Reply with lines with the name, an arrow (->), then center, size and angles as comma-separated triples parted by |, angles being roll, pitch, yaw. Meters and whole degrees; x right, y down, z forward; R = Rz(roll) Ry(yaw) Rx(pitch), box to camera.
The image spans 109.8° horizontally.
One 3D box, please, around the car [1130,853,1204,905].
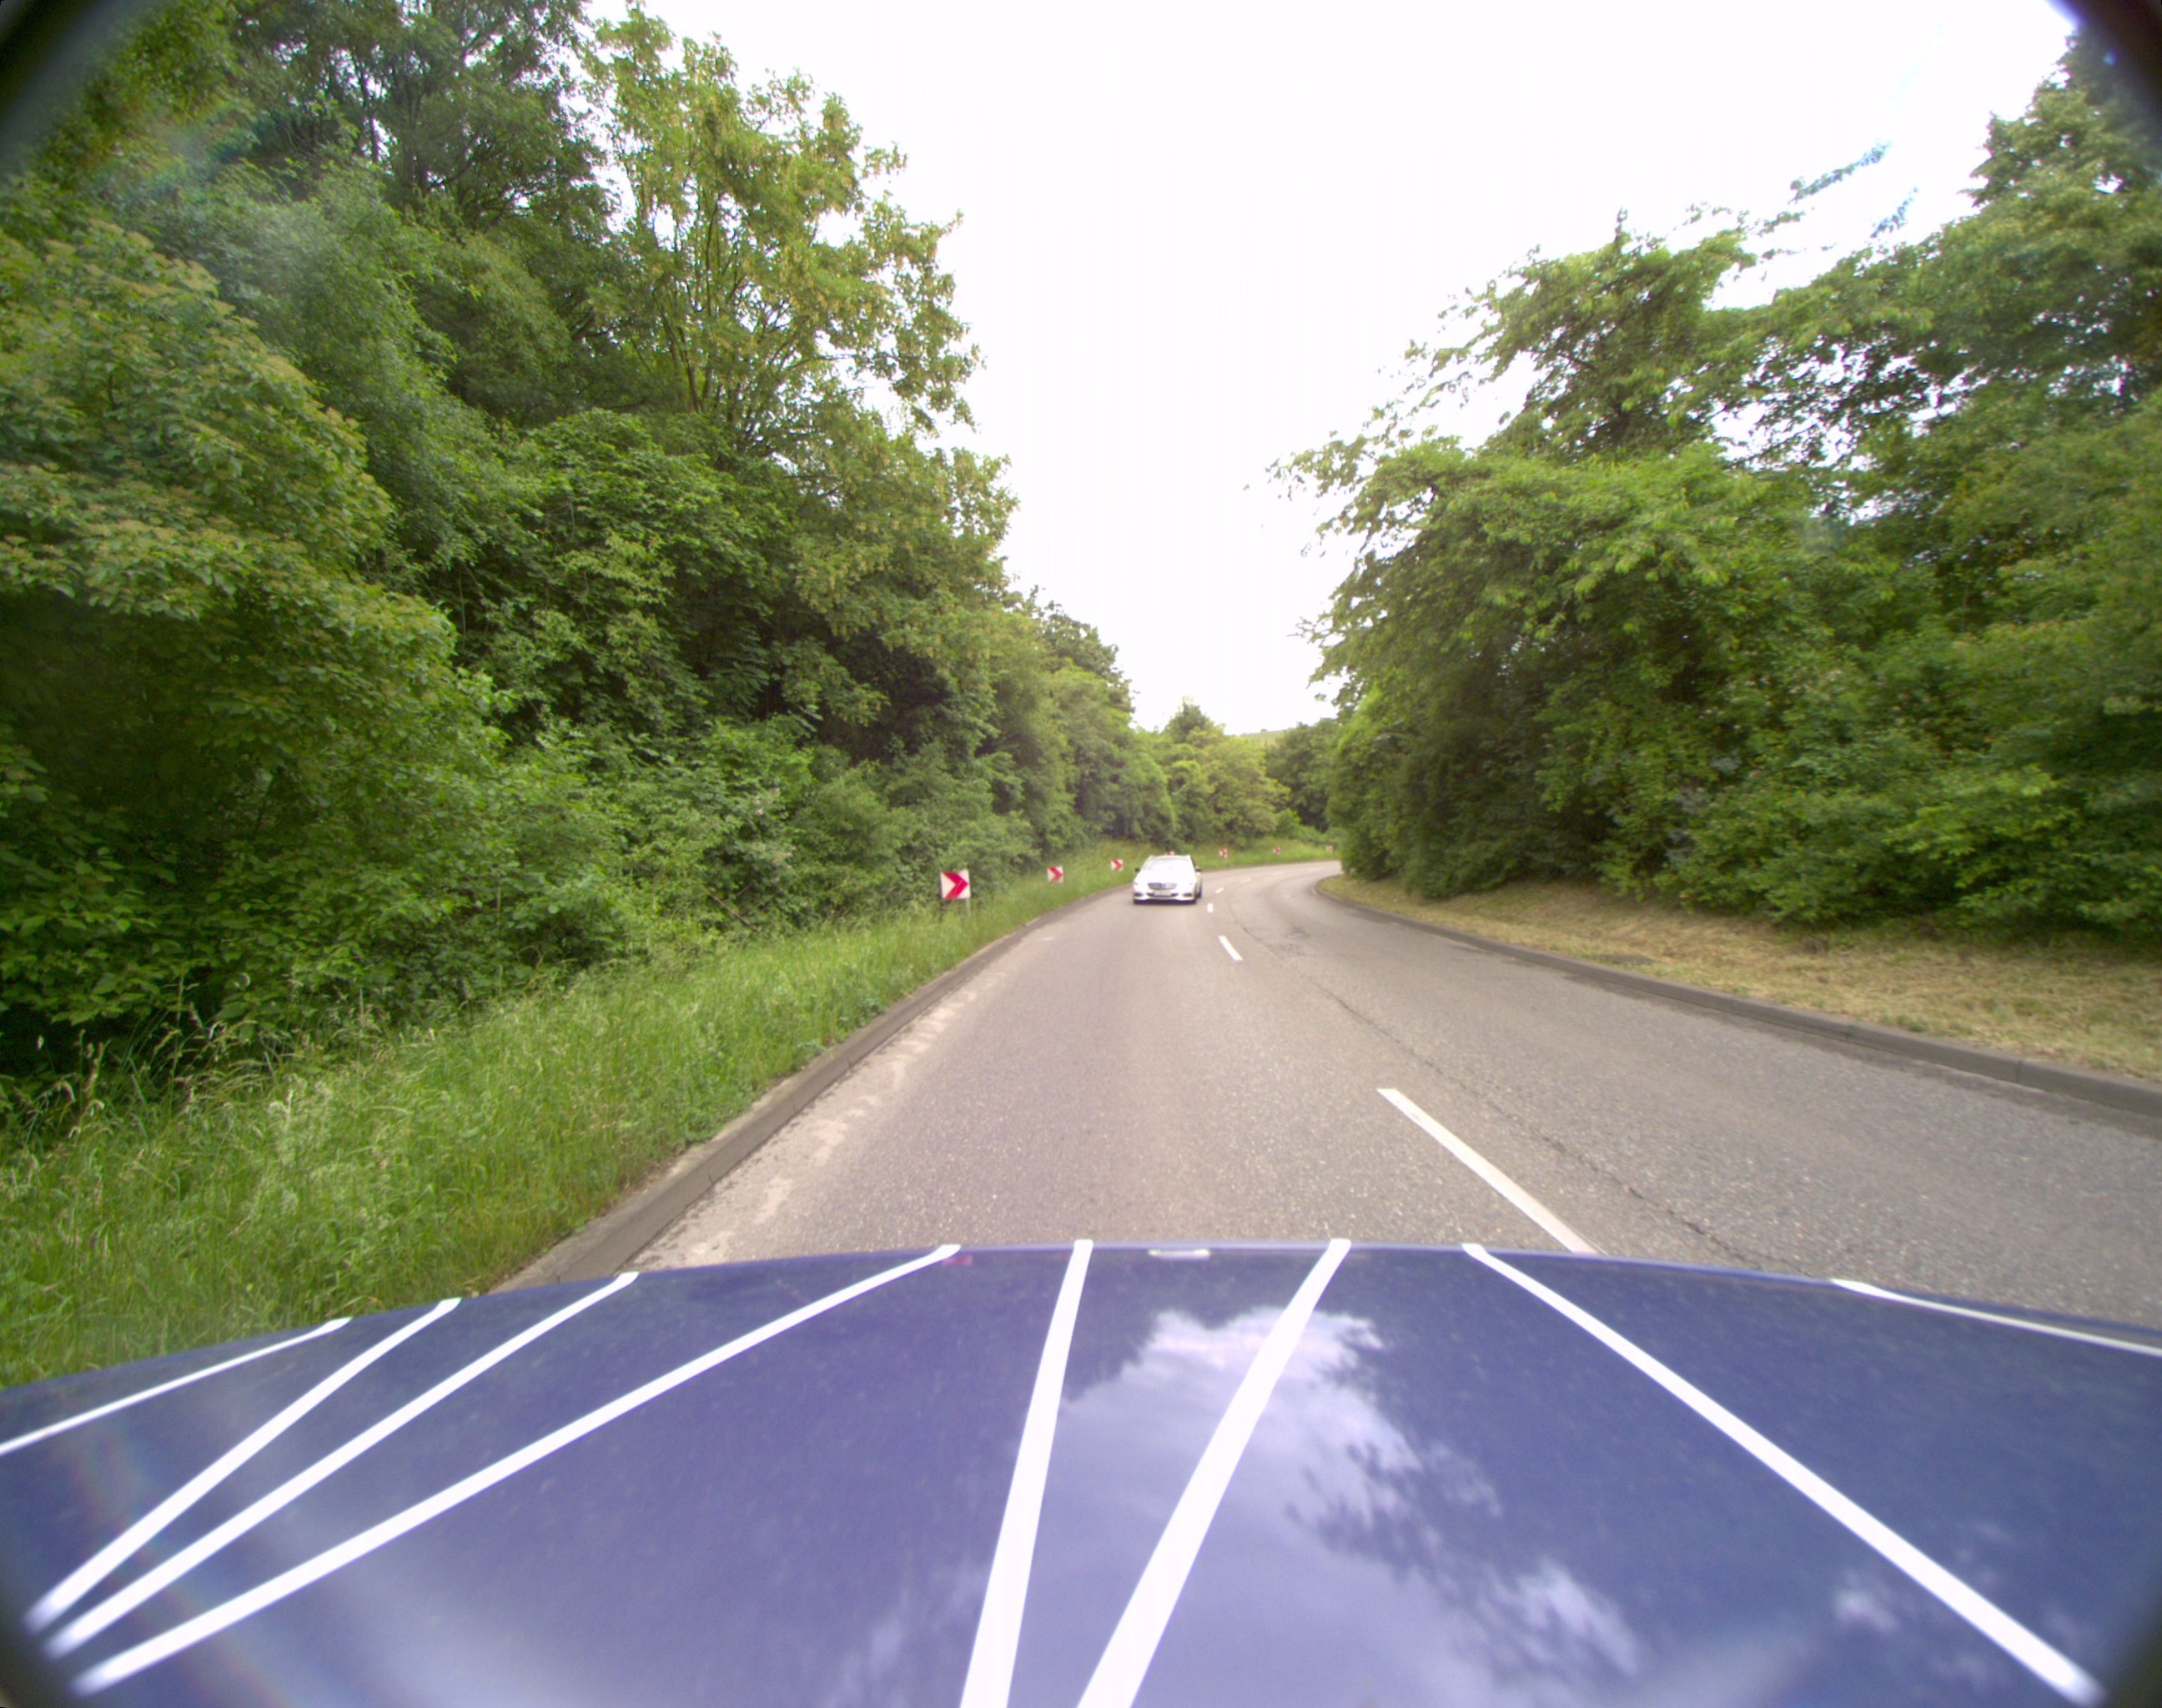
car -> 2.799, 0.724, 23.892 | 1.865, 1.423, 4.359 | -1, 1, 12
